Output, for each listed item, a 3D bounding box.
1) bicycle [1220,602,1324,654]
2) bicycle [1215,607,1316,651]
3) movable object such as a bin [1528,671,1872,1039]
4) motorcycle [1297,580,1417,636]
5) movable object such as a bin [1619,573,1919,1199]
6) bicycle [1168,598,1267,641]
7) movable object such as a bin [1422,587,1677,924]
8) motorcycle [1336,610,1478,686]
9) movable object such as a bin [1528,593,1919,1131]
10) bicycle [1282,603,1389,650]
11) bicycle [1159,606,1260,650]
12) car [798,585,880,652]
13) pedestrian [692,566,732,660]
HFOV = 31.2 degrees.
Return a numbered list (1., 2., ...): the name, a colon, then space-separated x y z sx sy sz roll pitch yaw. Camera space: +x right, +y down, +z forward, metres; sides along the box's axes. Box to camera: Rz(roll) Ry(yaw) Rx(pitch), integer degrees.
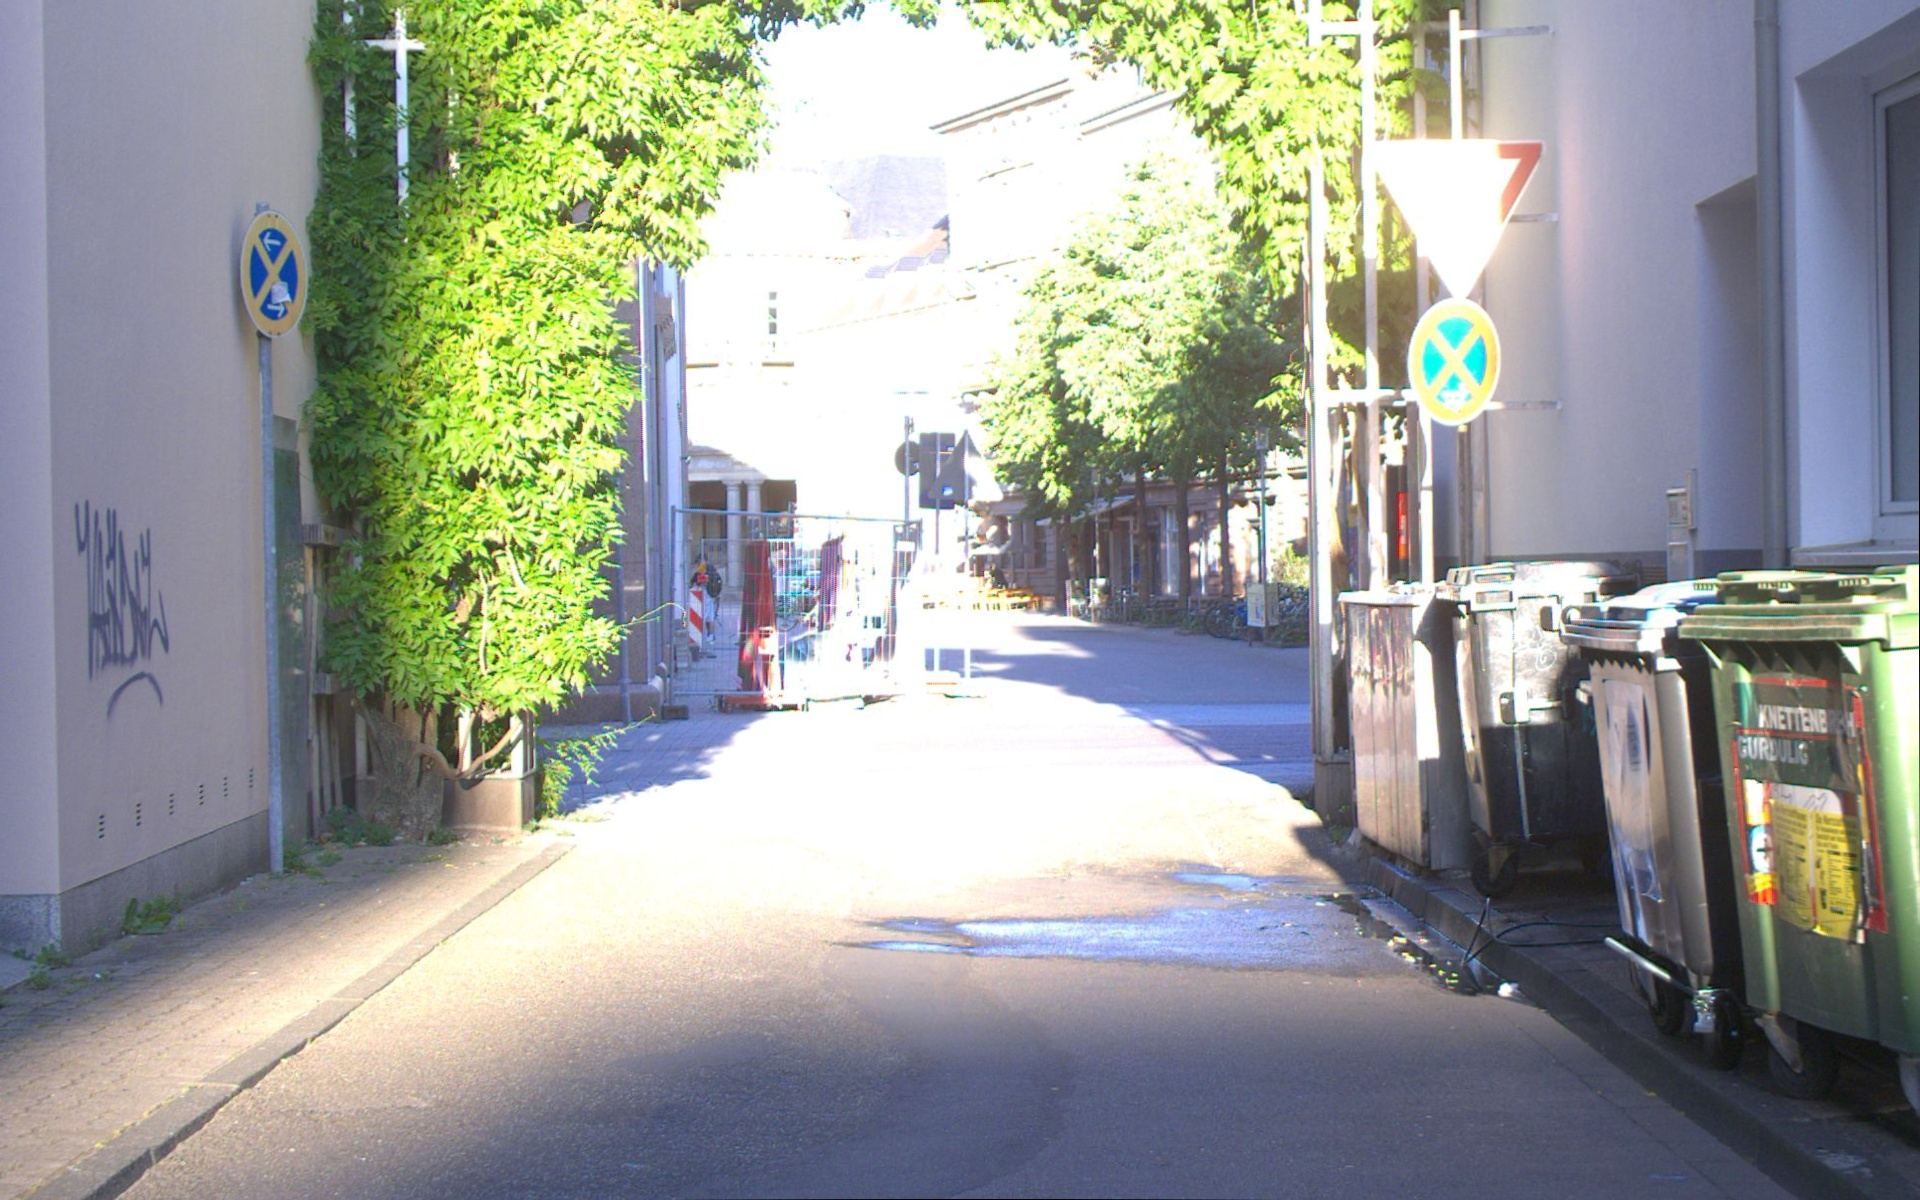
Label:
1. bicycle: 6.724 0.603 74.132 2.154 1.057 0.590 -2 -1 13
2. bicycle: 6.799 0.650 76.520 2.152 0.923 0.591 -1 -1 -9
3. movable object such as a bin: 2.351 0.796 11.004 0.869 1.071 0.738 -3 0 -2
4. motorcycle: 8.213 0.166 71.129 2.470 1.091 0.591 -1 -1 -24
5. movable object such as a bin: 2.297 0.630 8.370 0.937 1.362 1.342 -3 0 -6
6. bicycle: 5.863 0.455 78.374 2.152 0.923 0.591 -1 -1 -9
7. movable object such as a bin: 2.450 0.623 14.426 0.836 1.300 1.290 -3 0 3
8. motorcycle: 7.127 0.762 54.850 2.152 1.147 0.494 -1 -1 -4
9. movable object such as a bin: 2.316 0.690 9.775 1.064 1.362 1.342 -3 0 -2
10. bicycle: 7.870 0.563 72.074 2.152 0.923 0.591 -1 -1 -17
11. bicycle: 5.622 0.632 77.463 2.152 0.923 0.591 -1 -1 -9
12. car: -3.192 0.476 90.219 1.841 1.678 3.645 -1 0 -7
13. pedestrian: -4.684 0.241 64.953 0.654 1.758 0.634 -1 0 3
